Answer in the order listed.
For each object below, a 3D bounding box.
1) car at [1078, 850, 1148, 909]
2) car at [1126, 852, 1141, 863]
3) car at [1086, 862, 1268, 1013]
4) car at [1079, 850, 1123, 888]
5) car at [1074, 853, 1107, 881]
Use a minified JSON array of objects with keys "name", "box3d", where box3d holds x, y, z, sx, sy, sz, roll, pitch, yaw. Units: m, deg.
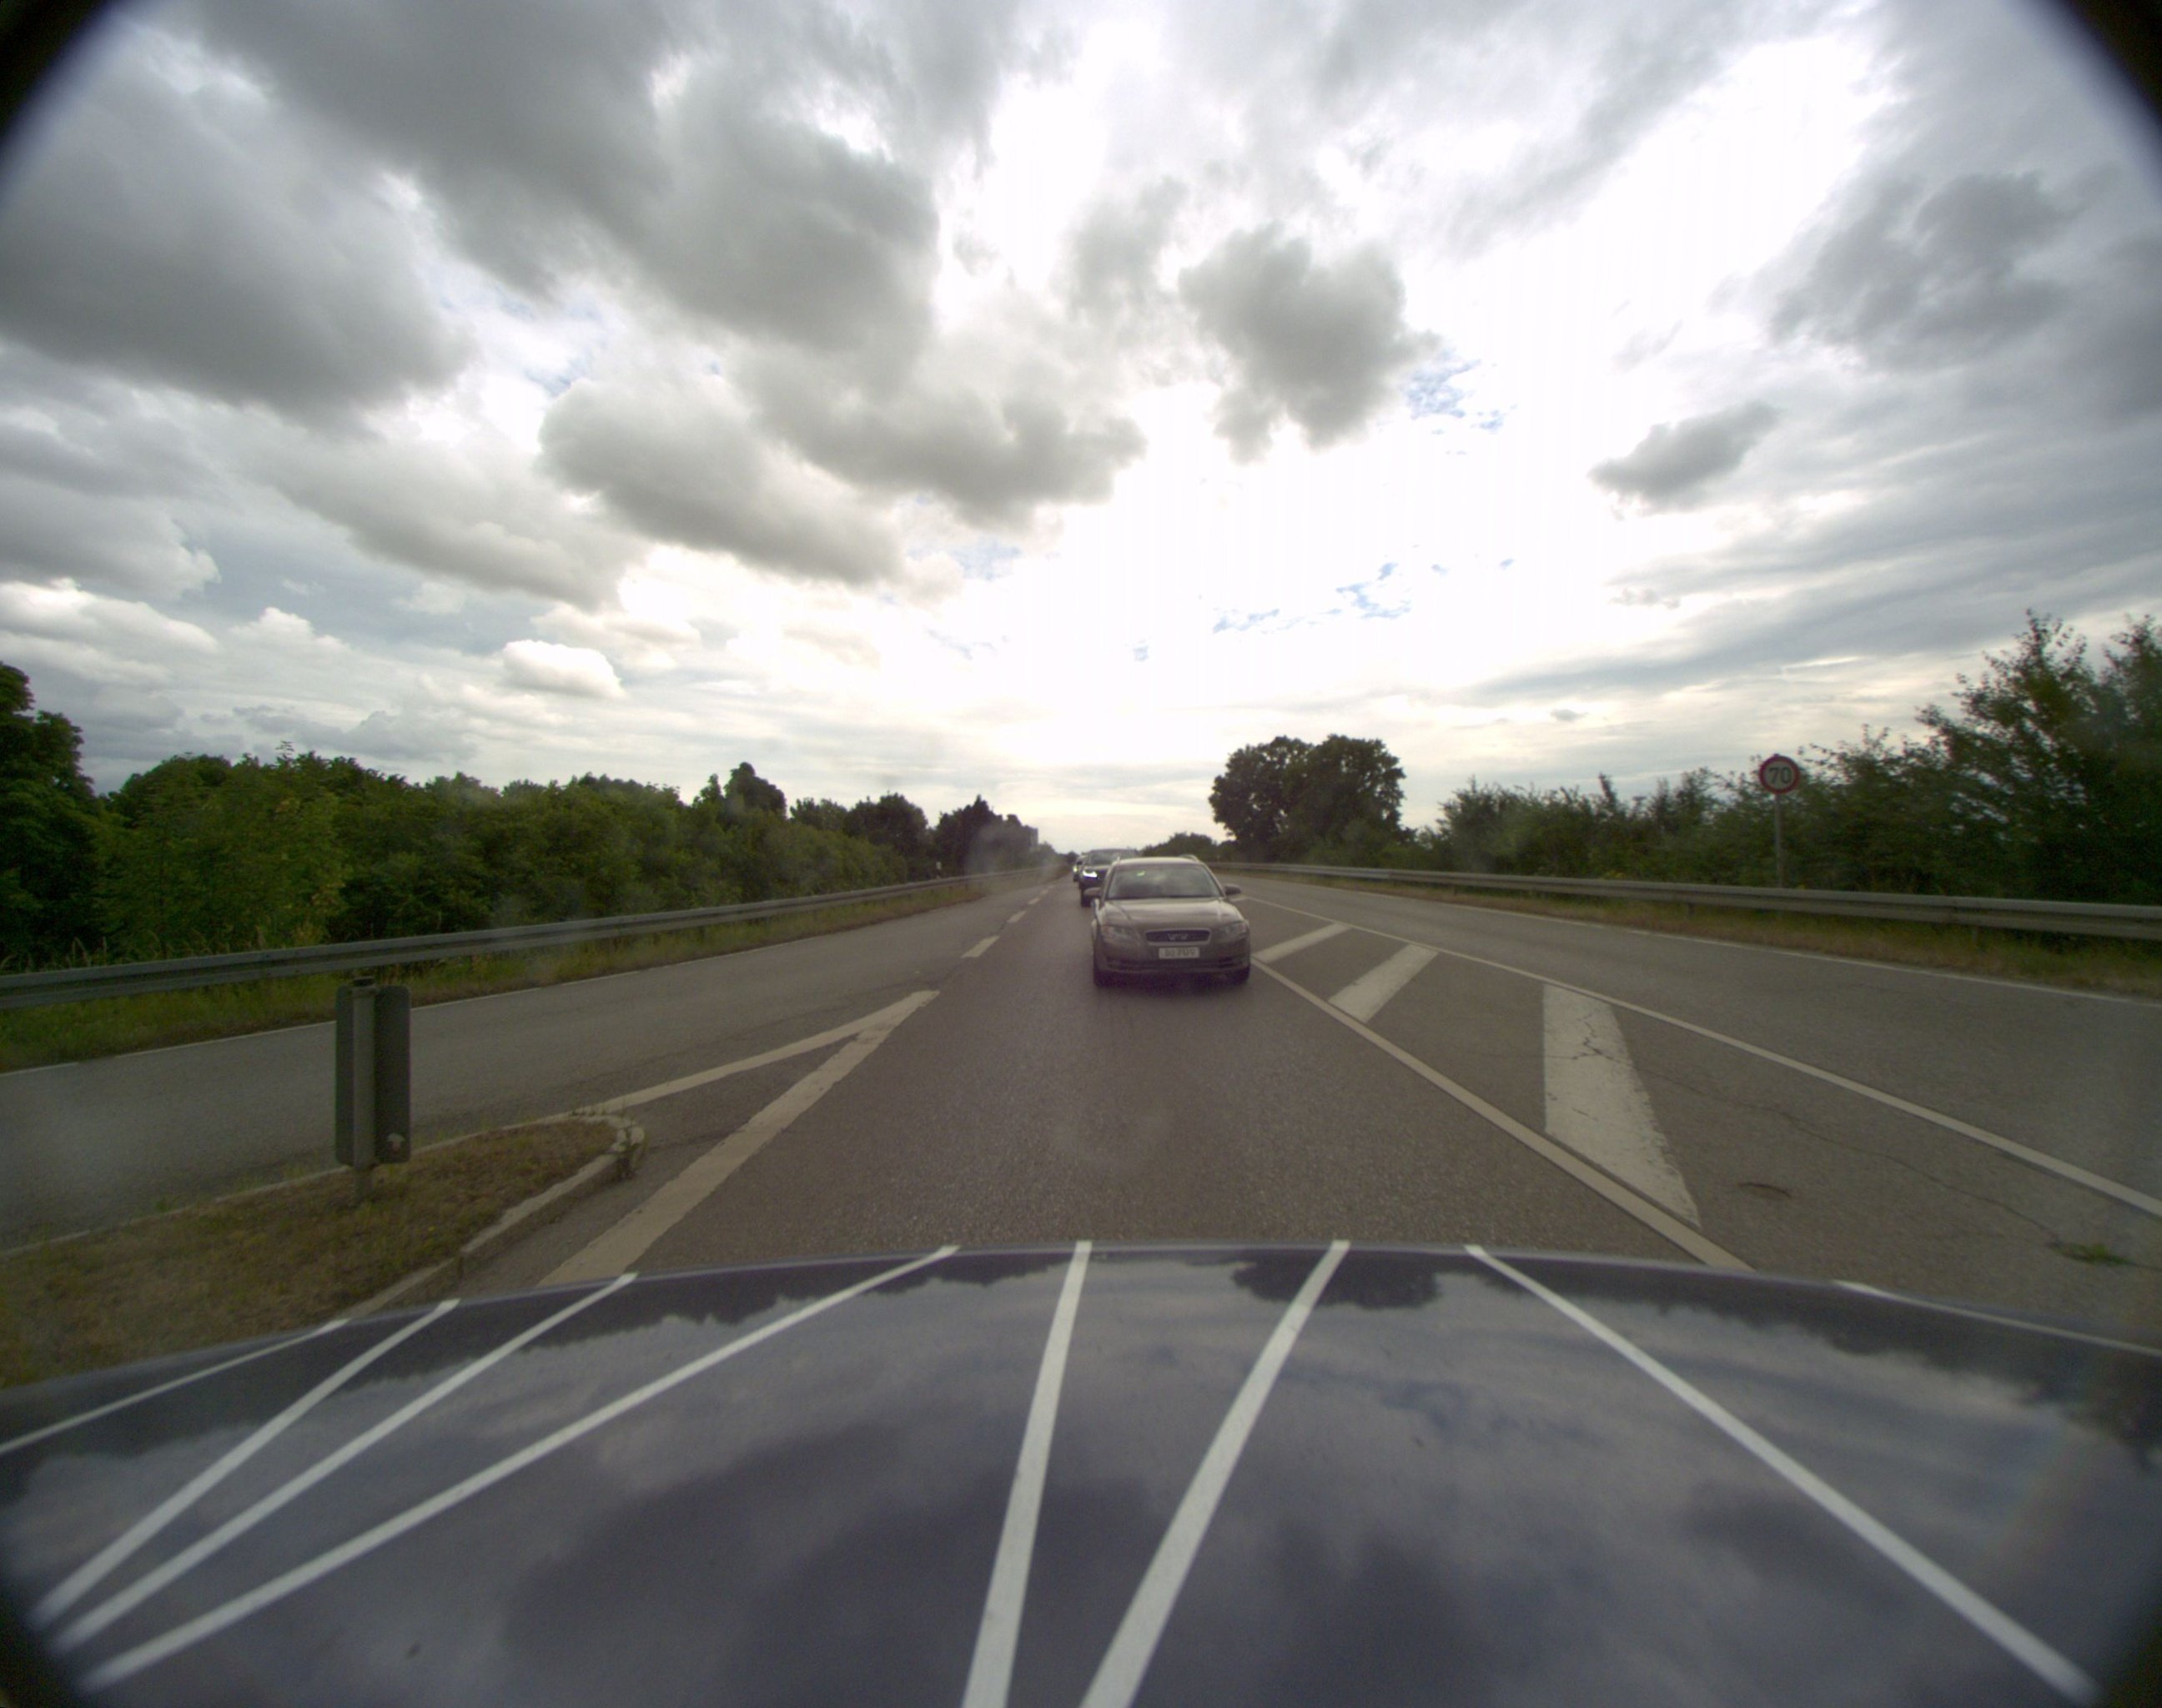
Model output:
[{"name":"car","box3d":[0.892,0.682,22.469,1.834,1.537,4.035,-1,0,1]},{"name":"car","box3d":[7.009,0.479,101.062,1.824,1.366,4.612,-1,1,5]},{"name":"car","box3d":[0.985,0.859,9.634,1.784,1.442,4.035,-1,0,1]},{"name":"car","box3d":[0.889,0.641,34.296,1.834,1.537,4.035,-1,0,1]},{"name":"car","box3d":[0.558,0.717,44.735,1.834,1.537,4.035,-1,0,1]}]
